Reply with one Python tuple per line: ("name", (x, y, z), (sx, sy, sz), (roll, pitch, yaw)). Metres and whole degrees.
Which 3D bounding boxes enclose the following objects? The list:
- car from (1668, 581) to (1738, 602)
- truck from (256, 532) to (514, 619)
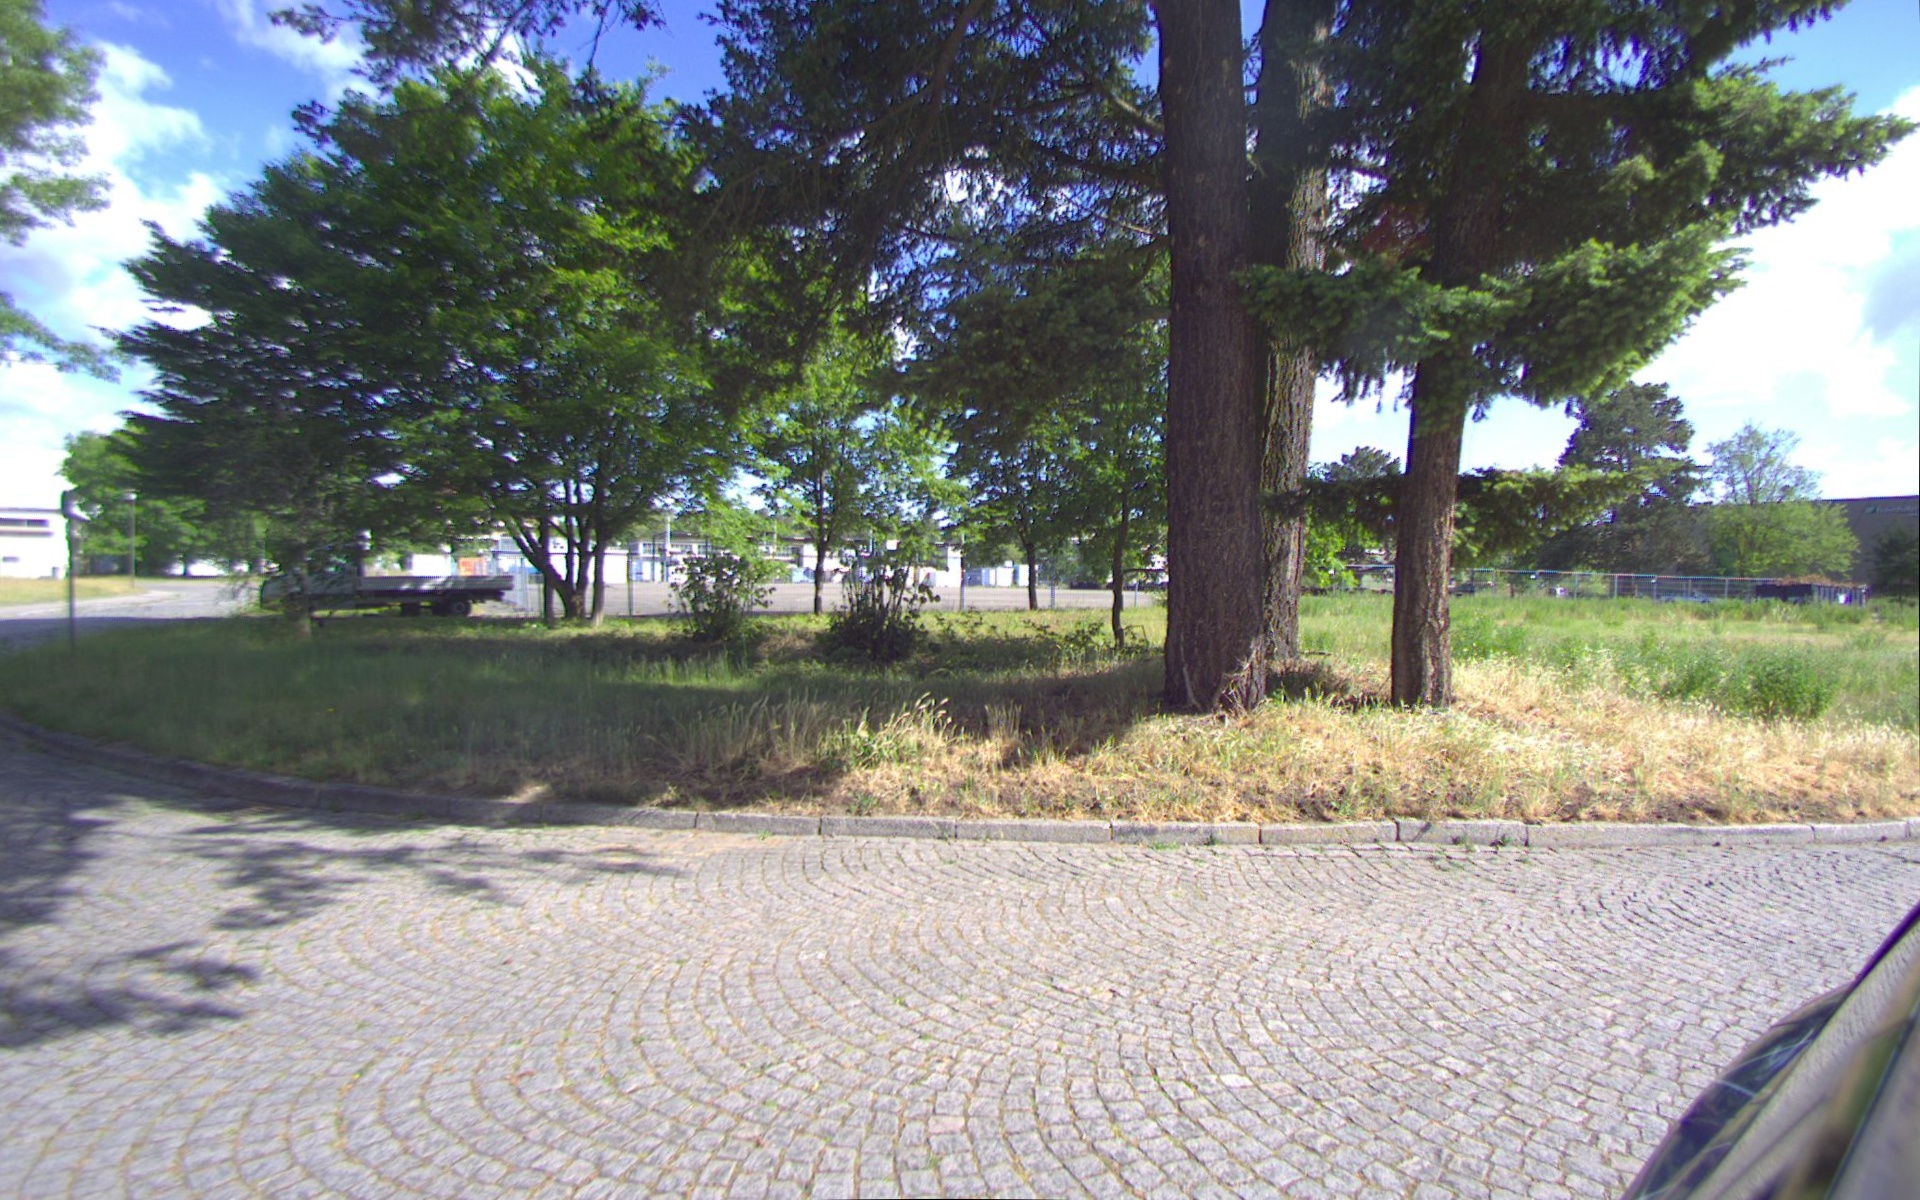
("car", (57.925, -0.673, 78.944), (1.710, 1.440, 4.006), (2, 1, -28))
("truck", (-17.594, -0.723, 31.385), (6.747, 2.454, 2.243), (0, 0, -29))
